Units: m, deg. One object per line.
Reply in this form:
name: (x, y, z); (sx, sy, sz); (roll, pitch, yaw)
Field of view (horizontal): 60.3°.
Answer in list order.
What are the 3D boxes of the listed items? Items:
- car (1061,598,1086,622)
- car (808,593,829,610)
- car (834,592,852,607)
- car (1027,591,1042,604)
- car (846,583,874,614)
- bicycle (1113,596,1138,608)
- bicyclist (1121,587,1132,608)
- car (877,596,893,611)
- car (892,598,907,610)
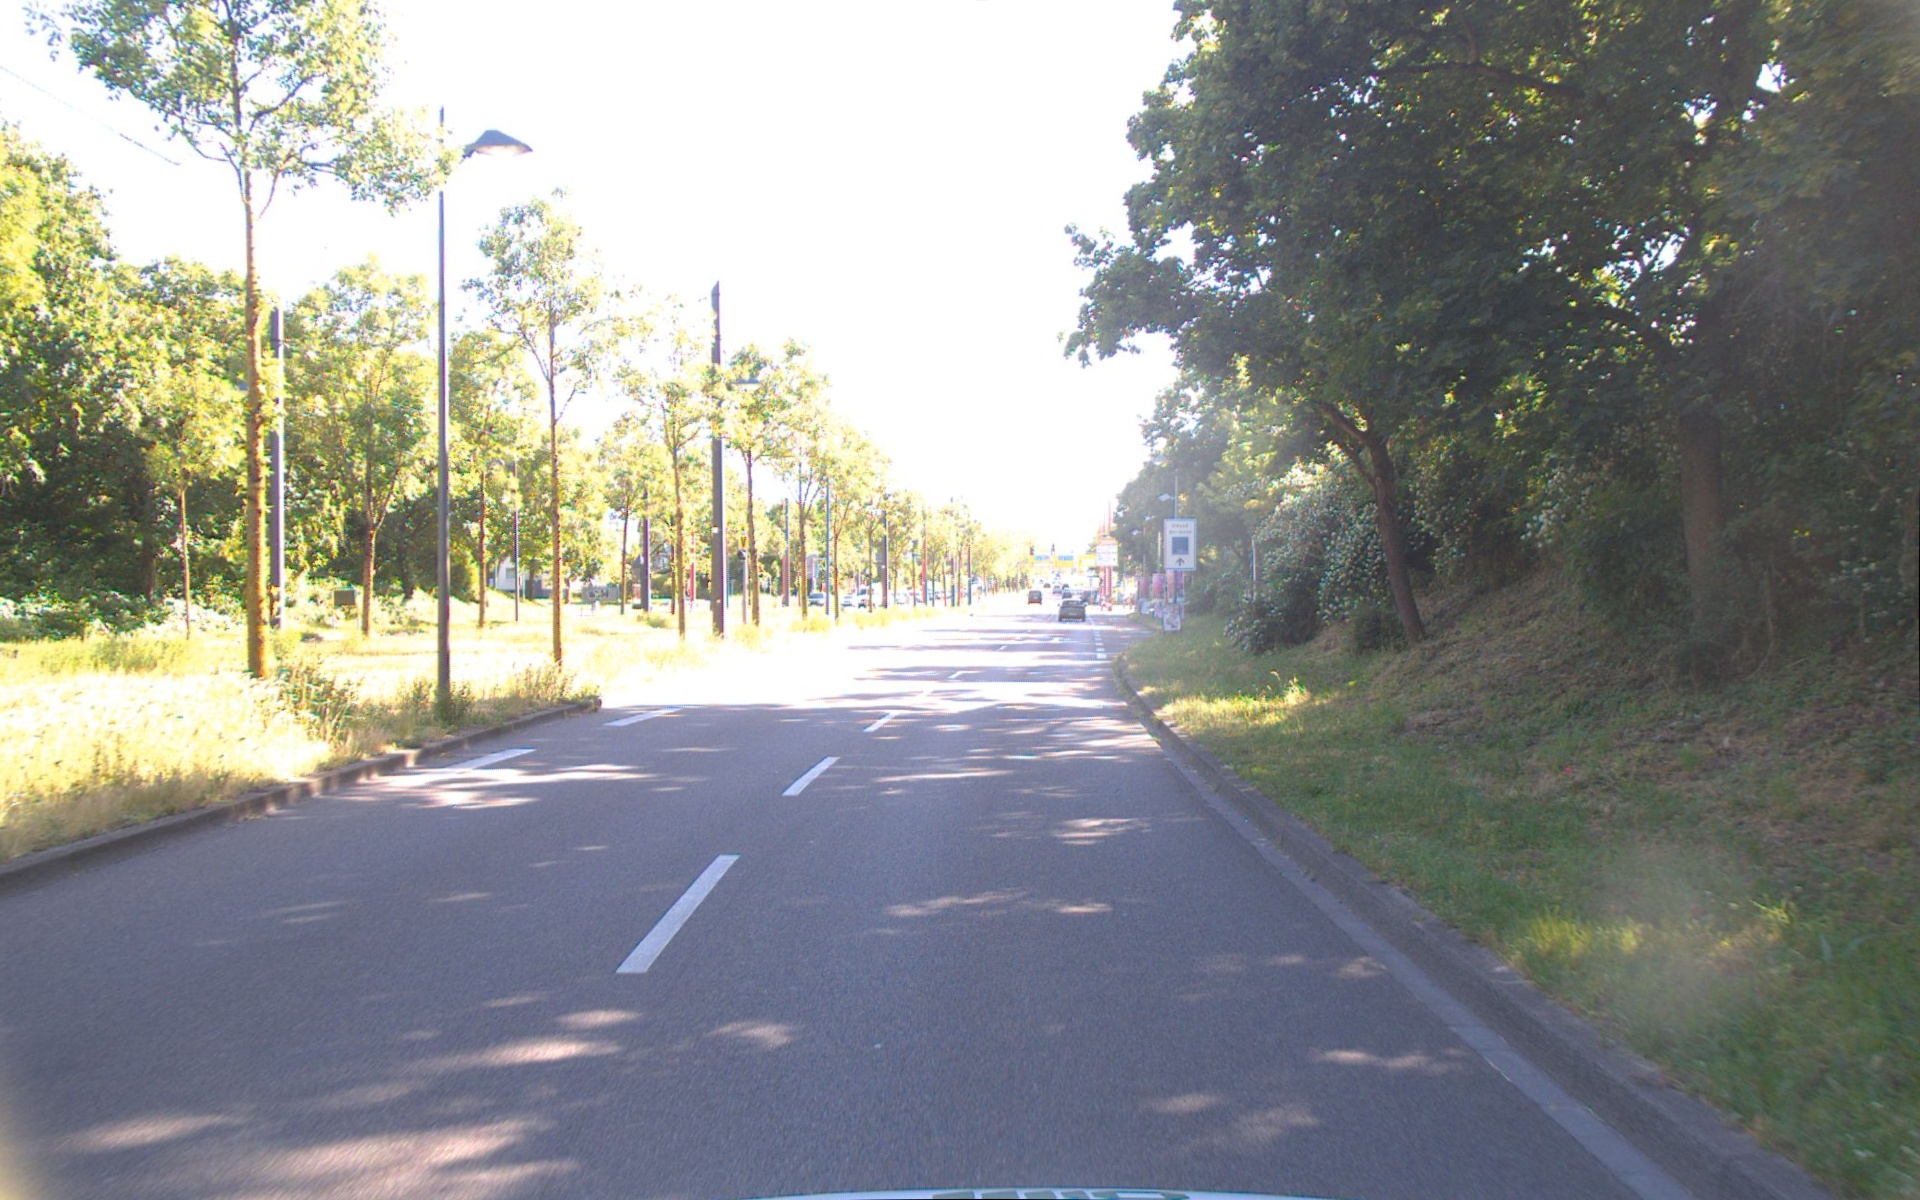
car: (7.439, 0.631, 108.220); (1.600, 1.524, 4.237); (0, 0, 4)
car: (-14.473, 0.104, 169.644); (1.597, 1.710, 4.193); (0, 0, 2)
car: (-13.588, -0.051, 192.469); (1.597, 1.710, 4.193); (0, 0, 2)
car: (9.038, -0.279, 200.844); (1.600, 1.524, 4.237); (0, 0, 4)
car: (-10.889, -0.182, 180.868); (2.414, 3.296, 6.136); (0, 0, 2)
bicycle: (15.815, 0.200, 157.748); (2.364, 1.129, 0.813); (0, 0, 4)
bicyclist: (15.882, -0.252, 157.744); (0.987, 2.042, 0.813); (0, 0, 4)
car: (-9.144, 0.423, 200.749); (1.597, 1.710, 4.193); (0, 0, 2)
car: (-7.657, 0.462, 208.841); (1.597, 1.471, 4.193); (0, 0, 2)
